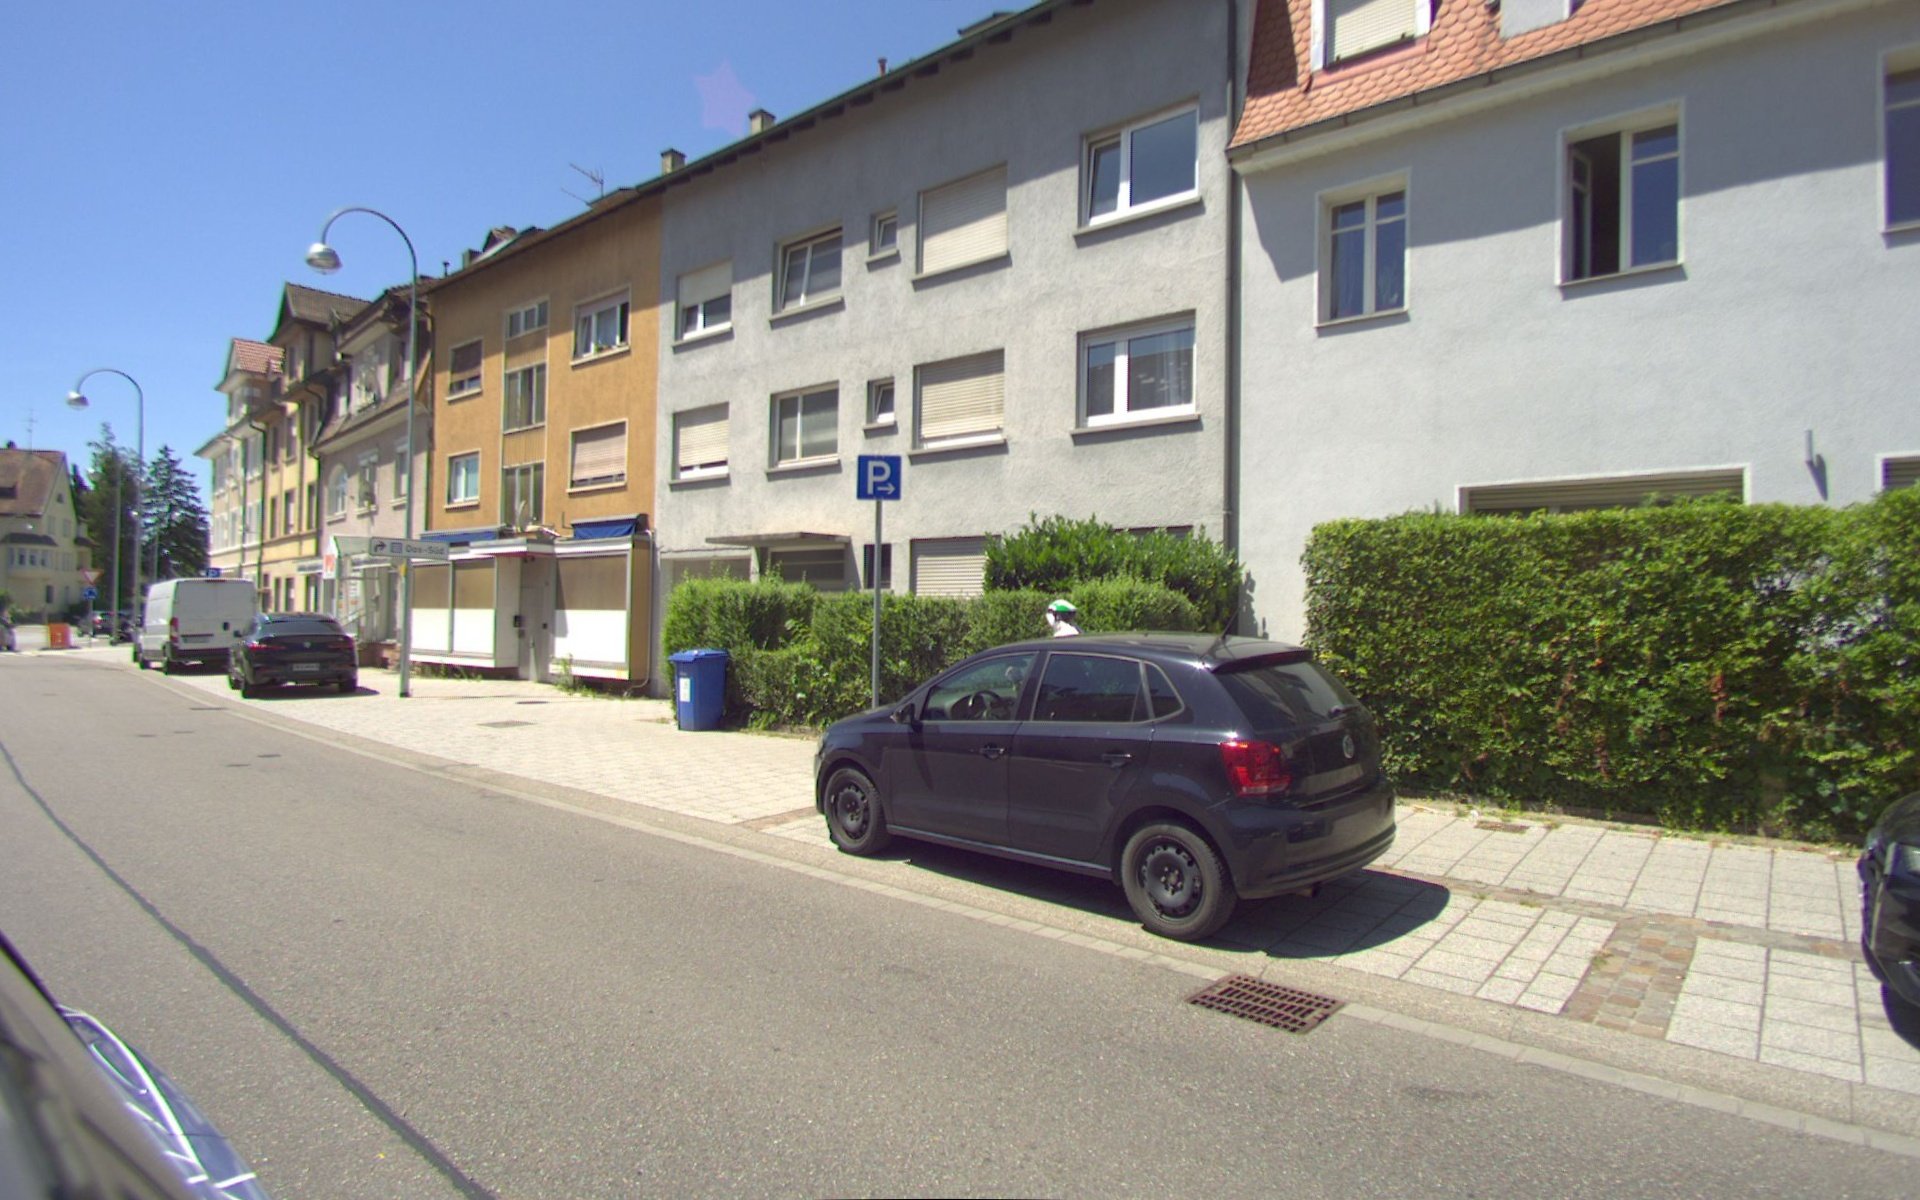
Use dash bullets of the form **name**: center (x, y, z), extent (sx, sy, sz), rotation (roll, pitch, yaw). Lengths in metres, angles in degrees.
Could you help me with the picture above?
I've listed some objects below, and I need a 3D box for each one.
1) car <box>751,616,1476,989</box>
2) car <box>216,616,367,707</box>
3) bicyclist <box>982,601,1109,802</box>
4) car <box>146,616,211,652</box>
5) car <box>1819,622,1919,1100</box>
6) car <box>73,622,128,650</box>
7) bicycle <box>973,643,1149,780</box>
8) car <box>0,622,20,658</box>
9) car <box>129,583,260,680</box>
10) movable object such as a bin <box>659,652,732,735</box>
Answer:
- **car**: center (0.641, 0.890, 6.273), extent (1.767, 1.470, 4.200), rotation (-2, 0, -45)
- **car**: center (-13.839, 1.167, 20.796), extent (2.059, 1.627, 5.117), rotation (0, -1, -40)
- **bicyclist**: center (0.763, 0.859, 9.014), extent (0.834, 1.672, 0.774), rotation (-1, -3, 40)
- **car**: center (-35.456, 1.512, 45.850), extent (1.773, 1.514, 4.950), rotation (1, -2, -44)
- **car**: center (5.470, 0.781, 2.314), extent (5.304, 1.473, 1.844), rotation (-2, -1, 41)
- **car**: center (-51.317, 2.148, 60.416), extent (4.387, 1.500, 1.777), rotation (1, 0, 40)
- **bicycle**: center (0.868, 0.932, 8.927), extent (1.513, 1.092, 0.550), rotation (-1, -3, 41)
- **car**: center (-39.903, 1.614, 41.245), extent (1.708, 1.422, 4.010), rotation (4, -4, -35)
- **car**: center (-21.768, 0.828, 28.662), extent (6.120, 2.468, 2.095), rotation (-1, -1, 45)
- **movable object such as a bin**: center (-3.522, 1.228, 13.488), extent (0.652, 1.056, 0.666), rotation (-1, -3, 41)
